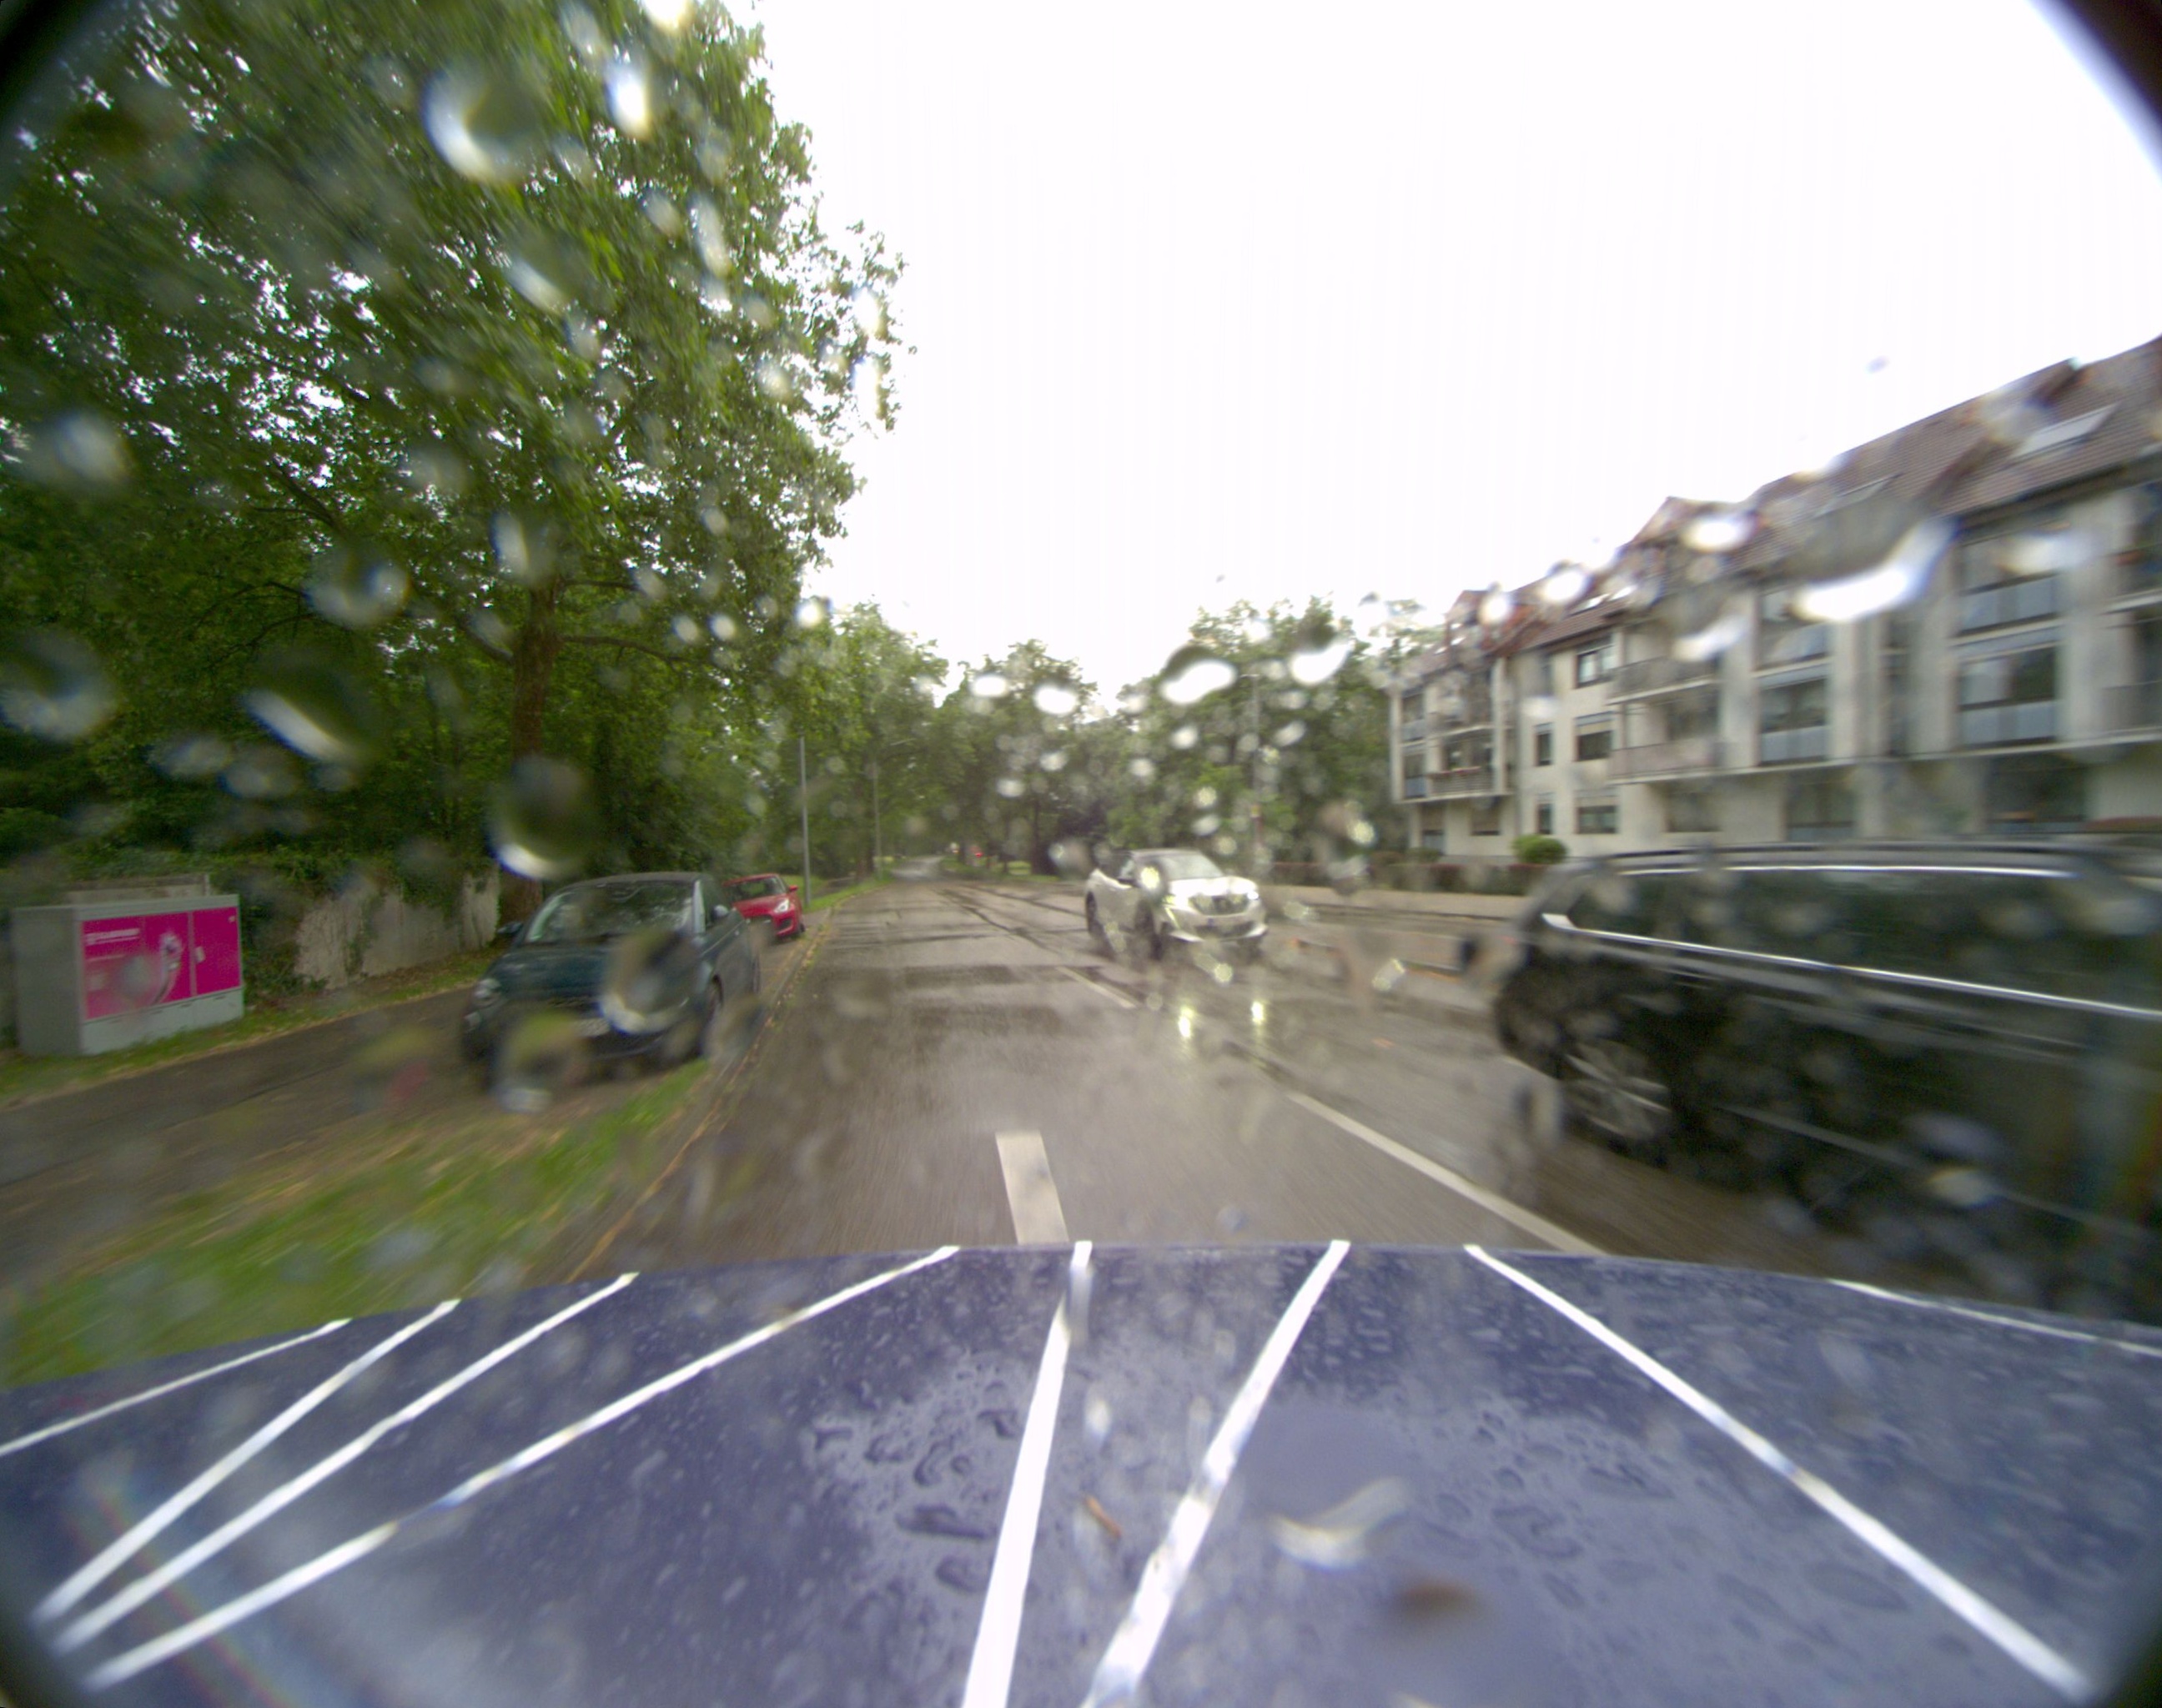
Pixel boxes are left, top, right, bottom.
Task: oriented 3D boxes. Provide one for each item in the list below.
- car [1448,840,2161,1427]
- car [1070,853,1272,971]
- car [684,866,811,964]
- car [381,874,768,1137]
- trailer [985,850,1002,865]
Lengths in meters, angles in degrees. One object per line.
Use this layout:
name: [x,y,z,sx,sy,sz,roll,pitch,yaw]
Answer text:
car: [3.645,0.723,2.364,1.838,1.448,4.653,-5,0,-15]
car: [1.220,0.772,12.372,1.759,1.527,4.361,-1,0,-15]
car: [-6.804,1.181,15.890,1.826,1.509,3.738,-9,1,-17]
car: [-4.100,1.043,6.910,1.756,1.483,3.595,-5,1,-15]
trailer: [-16.558,0.687,143.669,2.807,2.648,6.645,-1,1,-10]
